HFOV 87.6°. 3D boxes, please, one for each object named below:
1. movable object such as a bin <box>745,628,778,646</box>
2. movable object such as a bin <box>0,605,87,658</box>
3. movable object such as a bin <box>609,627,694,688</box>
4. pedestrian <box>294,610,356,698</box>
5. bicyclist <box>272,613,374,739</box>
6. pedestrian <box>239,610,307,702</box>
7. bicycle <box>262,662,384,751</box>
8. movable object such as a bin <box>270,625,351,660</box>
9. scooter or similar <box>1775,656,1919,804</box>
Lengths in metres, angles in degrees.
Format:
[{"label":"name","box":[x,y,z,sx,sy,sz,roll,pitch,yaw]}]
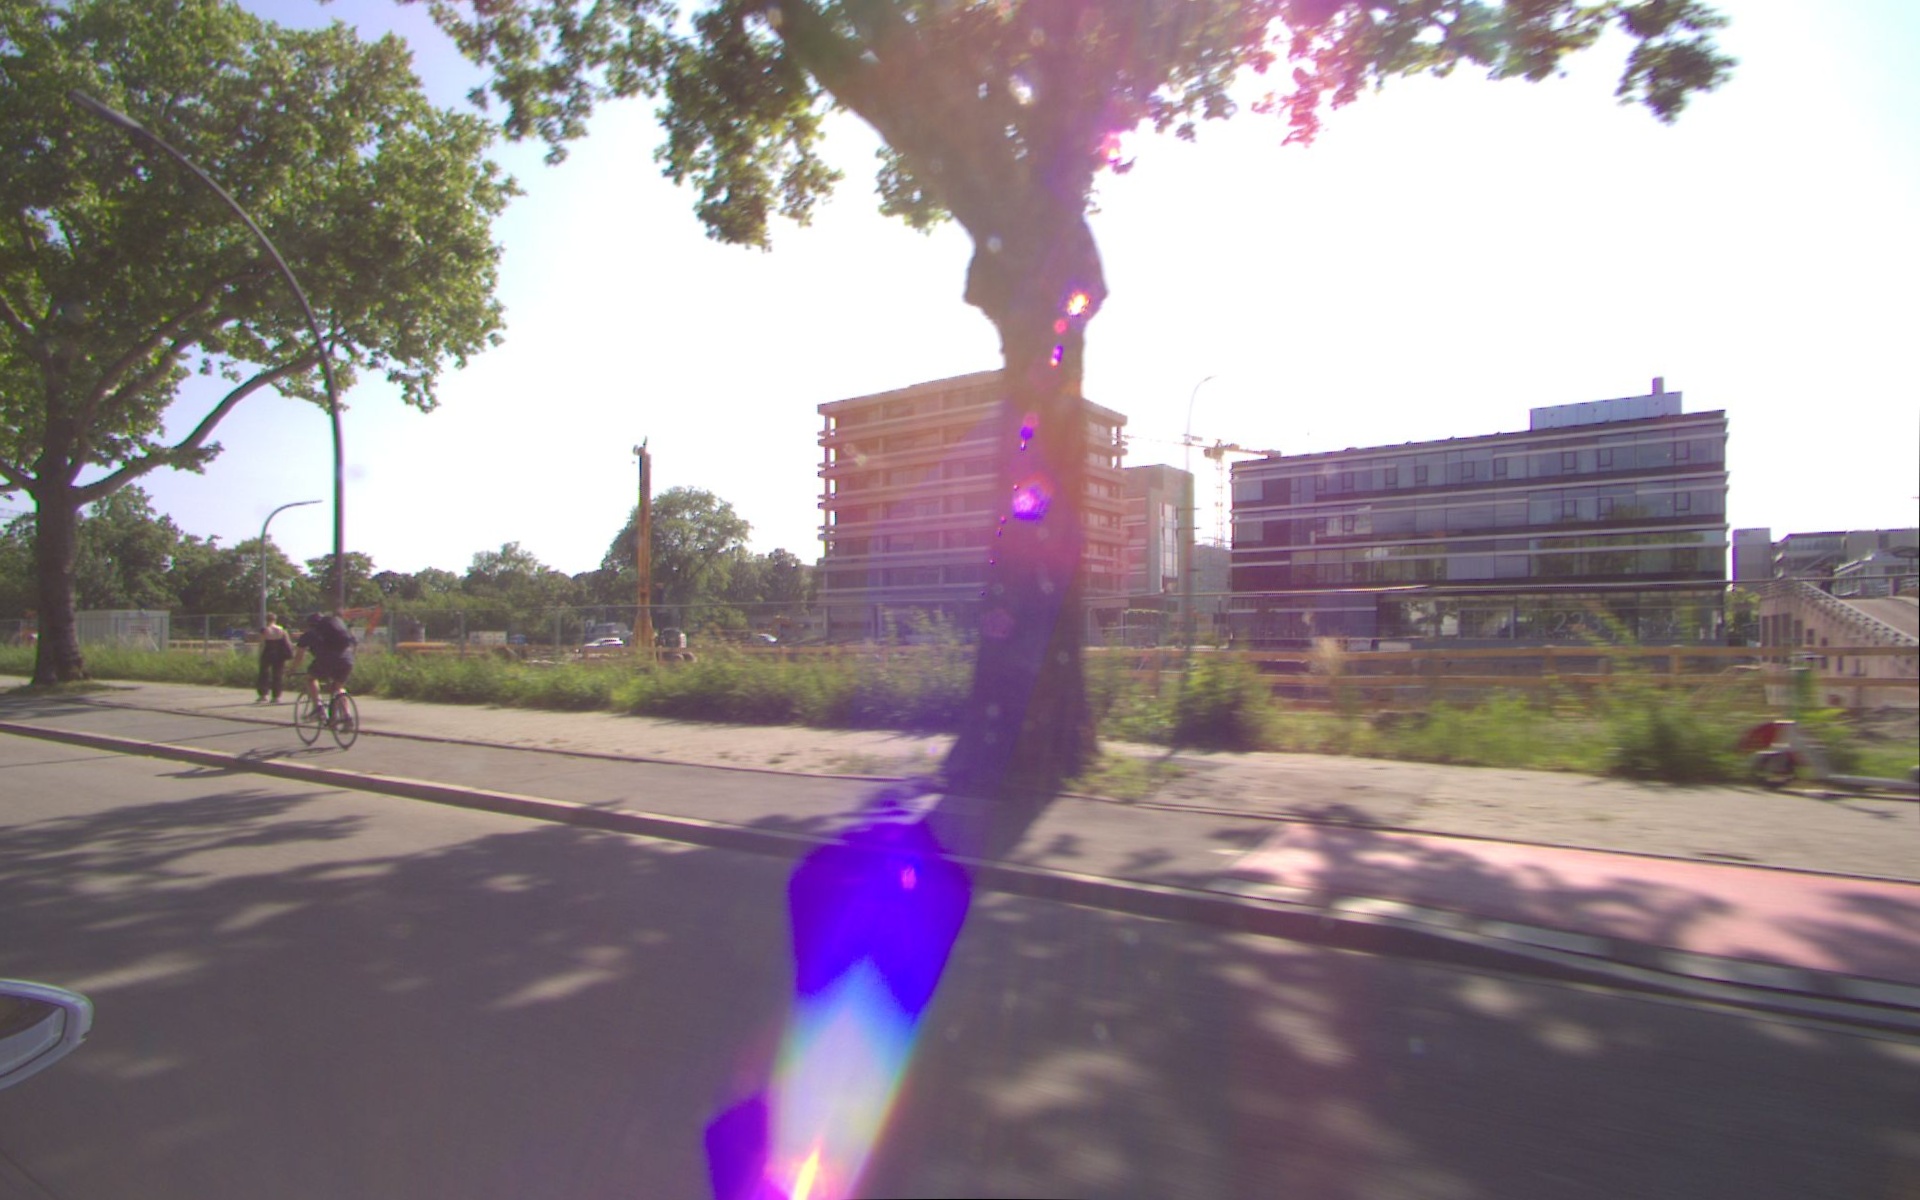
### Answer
[{"label":"movable object such as a bin","box":[-23.042,4.334,116.338,2.631,2.039,2.746,-1,-2,32]},{"label":"movable object such as a bin","box":[-56.190,1.948,61.359,5.898,3.110,2.367,-1,-2,31]},{"label":"movable object such as a bin","box":[-28.029,5.214,91.958,6.634,5.240,11.768,1,-3,-13]},{"label":"pedestrian","box":[-12.756,1.072,20.108,0.945,1.704,0.694,-1,-2,32]},{"label":"bicyclist","box":[-8.044,0.929,12.639,1.197,1.509,0.597,-1,1,32]},{"label":"pedestrian","box":[-13.330,1.075,19.435,1.051,1.746,0.709,-1,-2,32]},{"label":"bicycle","box":[-8.068,1.313,12.664,1.756,0.993,0.596,-1,1,32]},{"label":"movable object such as a bin","box":[-57.785,3.775,89.178,3.249,3.012,5.166,-1,-3,34]},{"label":"scooter or similar","box":[7.385,1.032,8.151,1.112,1.136,0.481,-1,-2,34]}]
